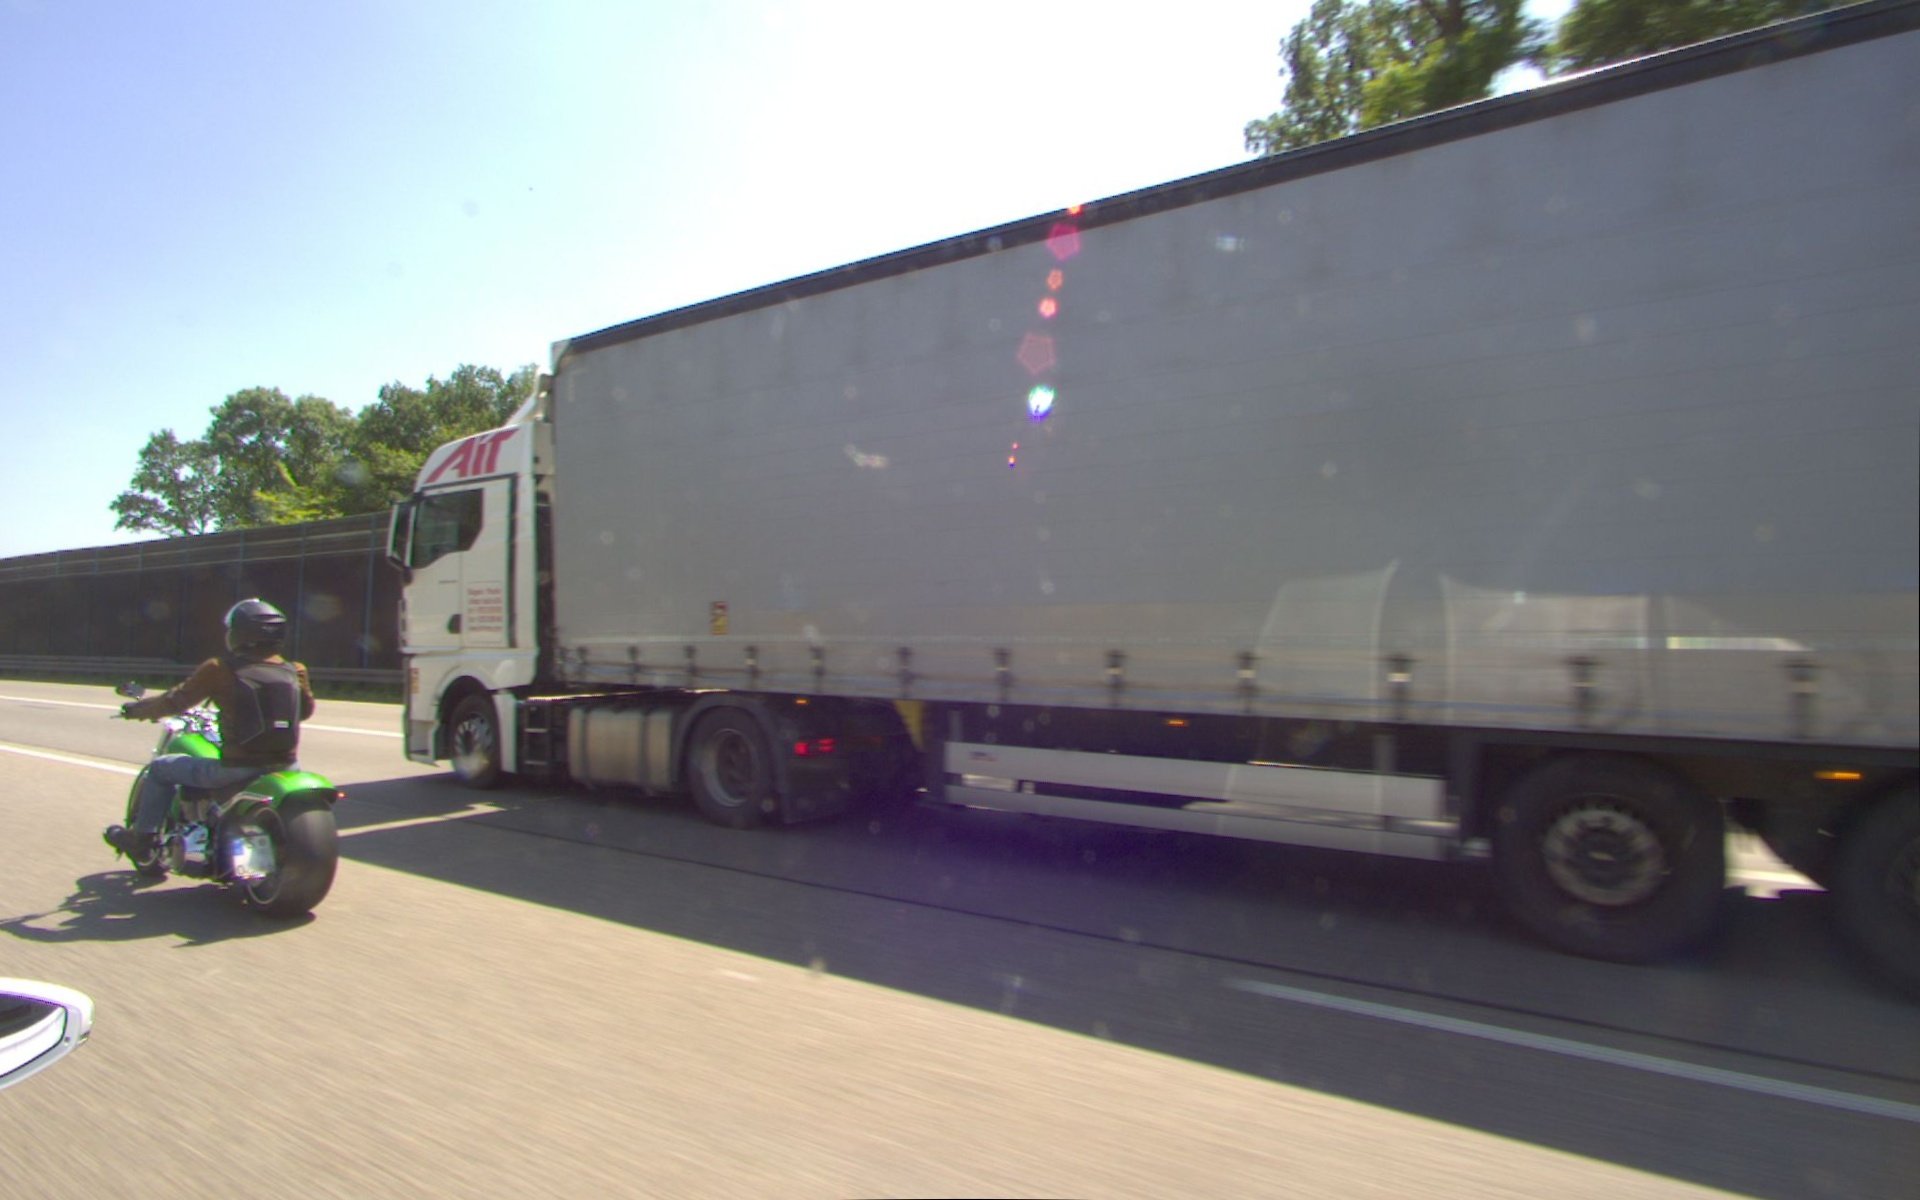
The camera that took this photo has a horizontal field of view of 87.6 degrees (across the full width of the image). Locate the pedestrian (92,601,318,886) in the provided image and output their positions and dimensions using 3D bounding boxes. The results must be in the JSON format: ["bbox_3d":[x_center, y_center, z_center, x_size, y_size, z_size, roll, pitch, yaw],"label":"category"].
[{"bbox_3d":[-4.358,0.777,5.812,0.629,1.497,0.850,0,-2,32],"label":"pedestrian"}]

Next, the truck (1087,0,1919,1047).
[{"bbox_3d":[3.664,-0.451,4.889,5.474,4.142,2.594,-1,-2,32],"label":"truck"}]

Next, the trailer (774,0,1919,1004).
[{"bbox_3d":[4.994,-0.504,4.535,13.401,4.142,2.593,-2,-2,33],"label":"trailer"}]

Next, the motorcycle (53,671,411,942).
[{"bbox_3d":[-4.172,1.039,5.683,2.244,1.196,0.858,-1,-2,32],"label":"motorcycle"}]
